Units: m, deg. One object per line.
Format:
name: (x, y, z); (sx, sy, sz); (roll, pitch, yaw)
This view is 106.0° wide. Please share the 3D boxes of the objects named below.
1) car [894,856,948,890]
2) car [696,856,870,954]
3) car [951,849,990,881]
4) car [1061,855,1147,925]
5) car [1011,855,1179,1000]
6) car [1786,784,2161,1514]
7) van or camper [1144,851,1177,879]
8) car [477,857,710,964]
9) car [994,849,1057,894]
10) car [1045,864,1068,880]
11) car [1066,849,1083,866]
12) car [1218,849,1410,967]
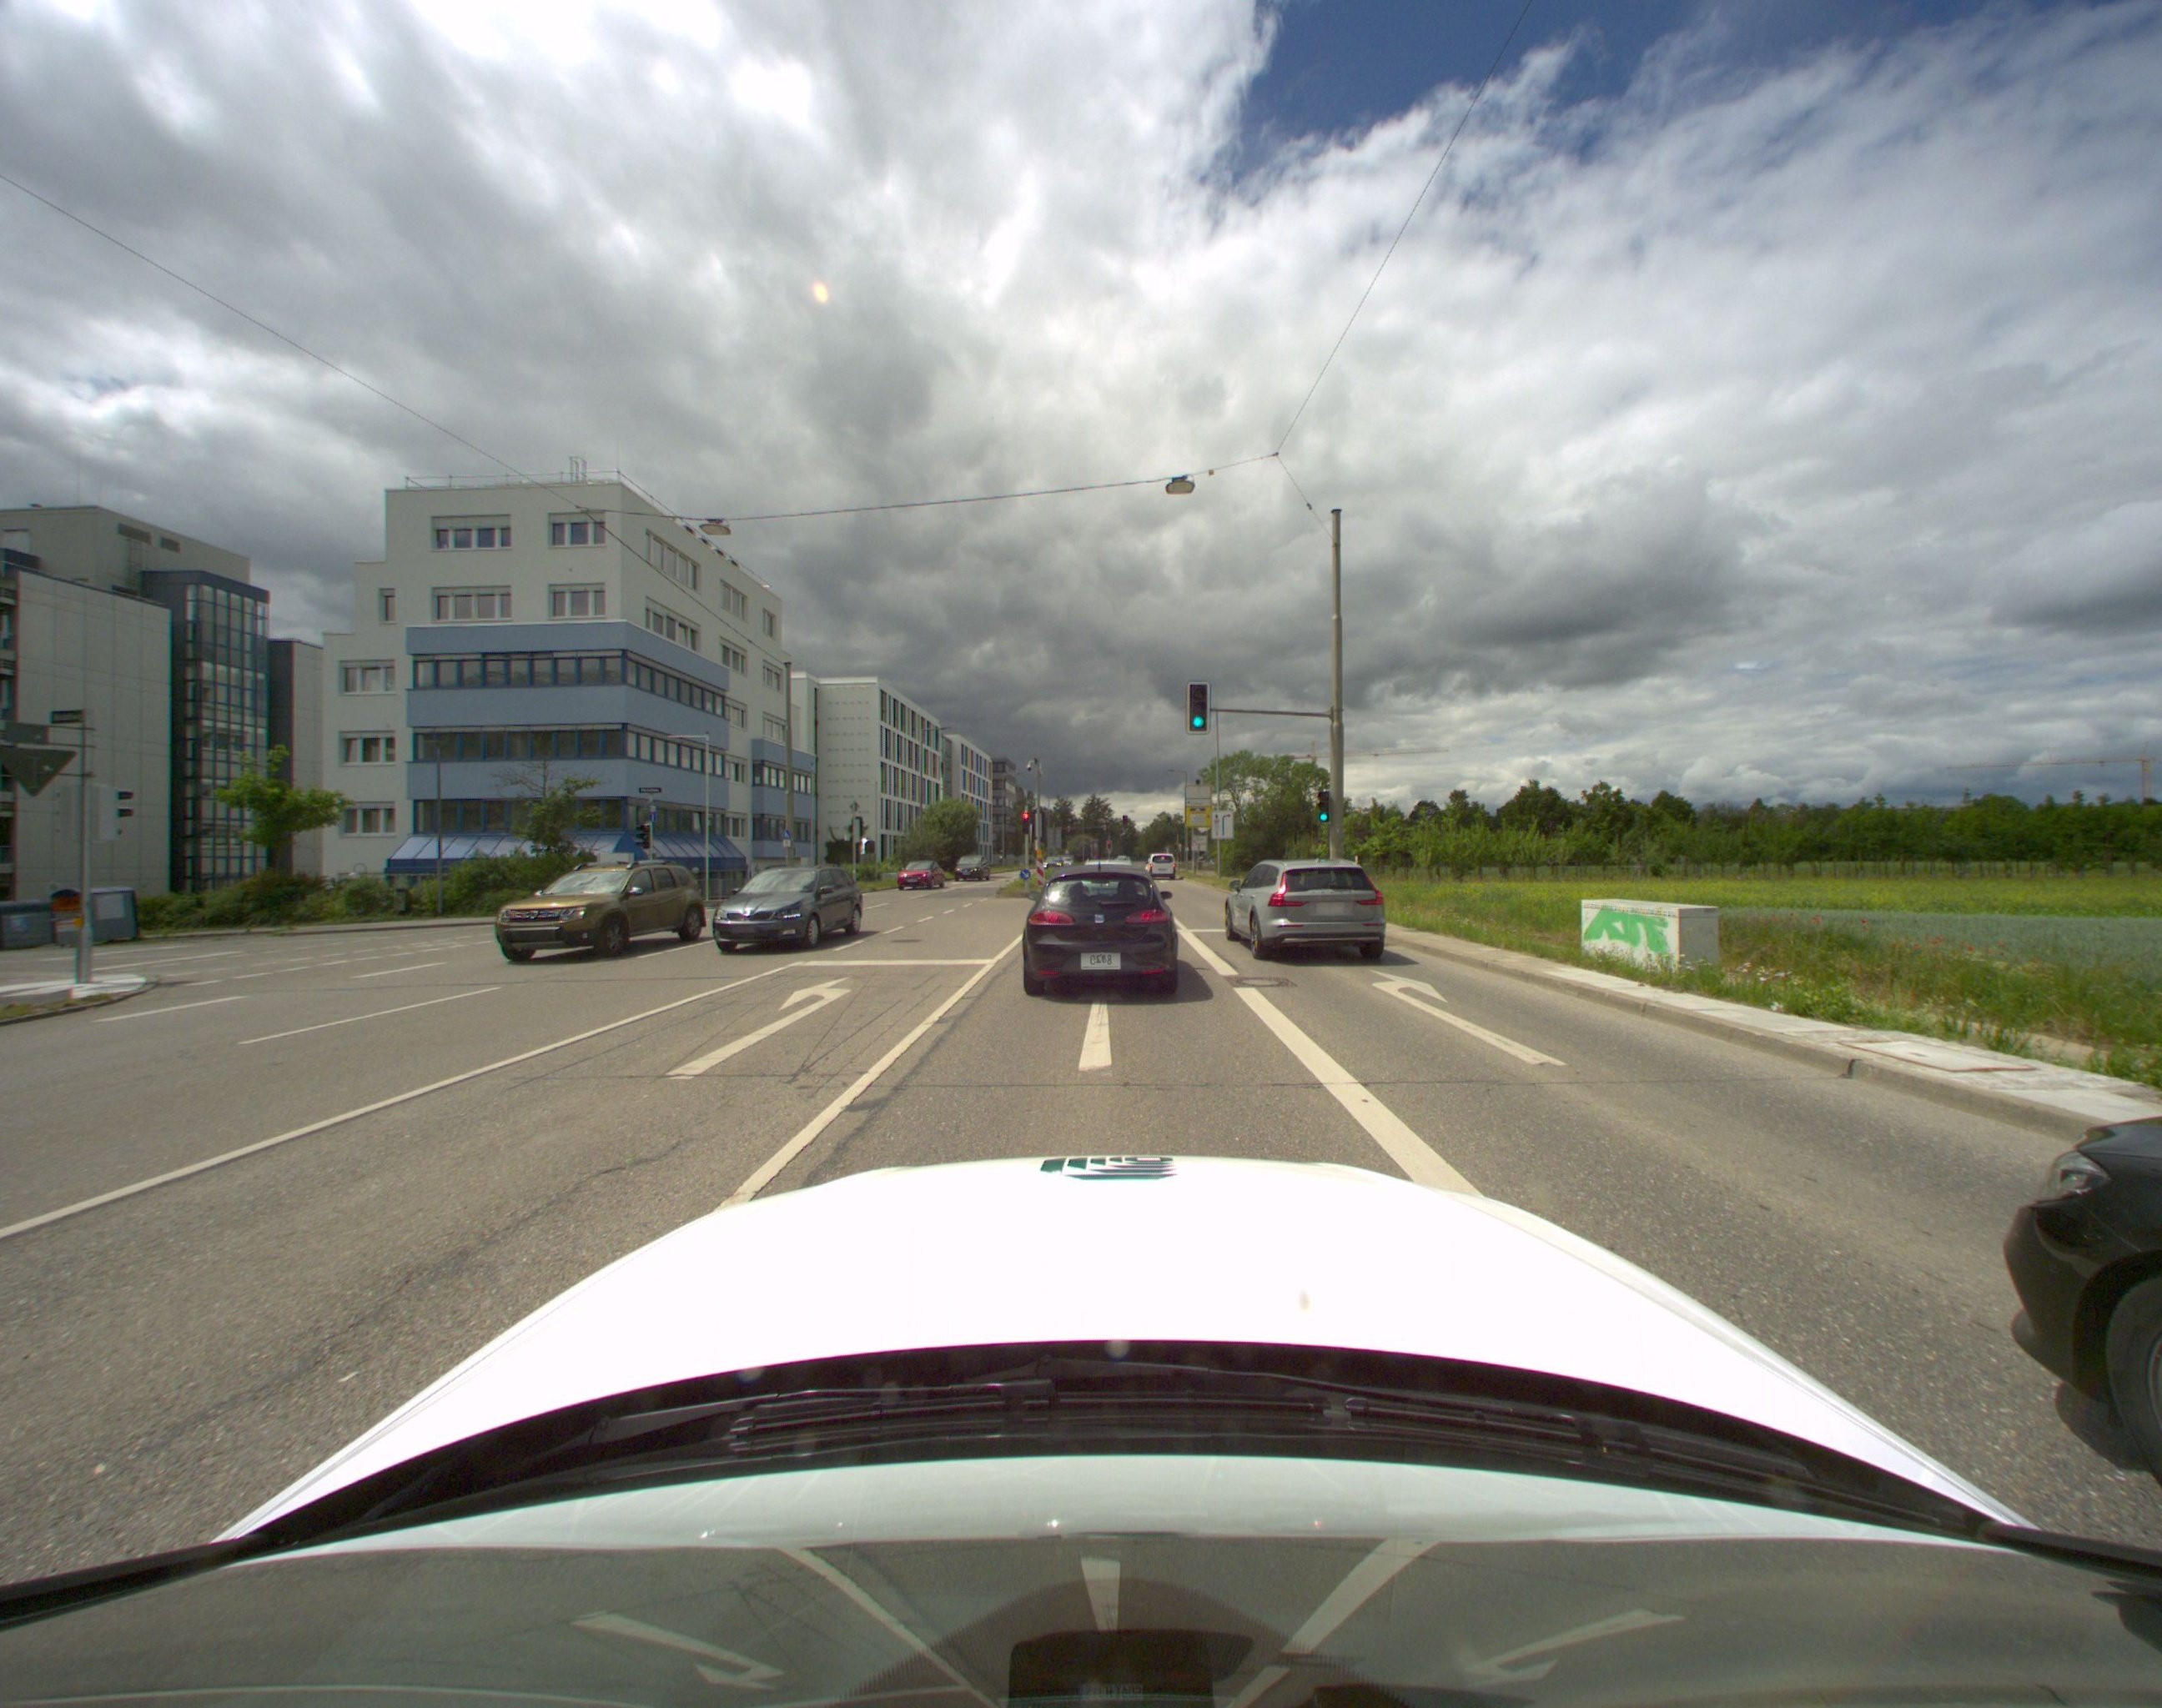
car: (-8.122, 0.960, 41.681); (1.769, 1.612, 4.002); (-1, -1, 2)
car: (-5.440, 0.850, 15.456); (1.662, 1.524, 4.010); (-2, 0, 2)
car: (-7.334, 0.767, 54.611); (1.987, 2.014, 4.479); (-1, -1, -1)
car: (0.576, 0.840, 20.921); (1.976, 1.590, 4.227); (0, 0, 1)
car: (0.327, 0.782, 10.432); (1.739, 1.484, 4.005); (0, -1, 5)
car: (3.131, 0.645, 0.229); (1.831, 1.538, 4.808); (-1, 2, 2)
van or camper: (5.697, 0.785, 59.104); (1.894, 1.926, 3.997); (-1, -1, -1)
car: (-8.729, 0.921, 15.055); (1.744, 1.631, 4.001); (-3, -1, 2)
car: (-1.940, 0.619, 29.520); (1.839, 1.461, 4.057); (-1, -1, 2)
car: (-2.317, 1.736, 78.525); (1.986, 1.409, 4.001); (-1, -1, 2)
car: (-0.855, 0.474, 104.590); (1.986, 2.014, 4.001); (-1, -1, 2)
car: (3.526, 0.769, 13.239); (1.951, 1.525, 4.341); (-2, -1, 2)
